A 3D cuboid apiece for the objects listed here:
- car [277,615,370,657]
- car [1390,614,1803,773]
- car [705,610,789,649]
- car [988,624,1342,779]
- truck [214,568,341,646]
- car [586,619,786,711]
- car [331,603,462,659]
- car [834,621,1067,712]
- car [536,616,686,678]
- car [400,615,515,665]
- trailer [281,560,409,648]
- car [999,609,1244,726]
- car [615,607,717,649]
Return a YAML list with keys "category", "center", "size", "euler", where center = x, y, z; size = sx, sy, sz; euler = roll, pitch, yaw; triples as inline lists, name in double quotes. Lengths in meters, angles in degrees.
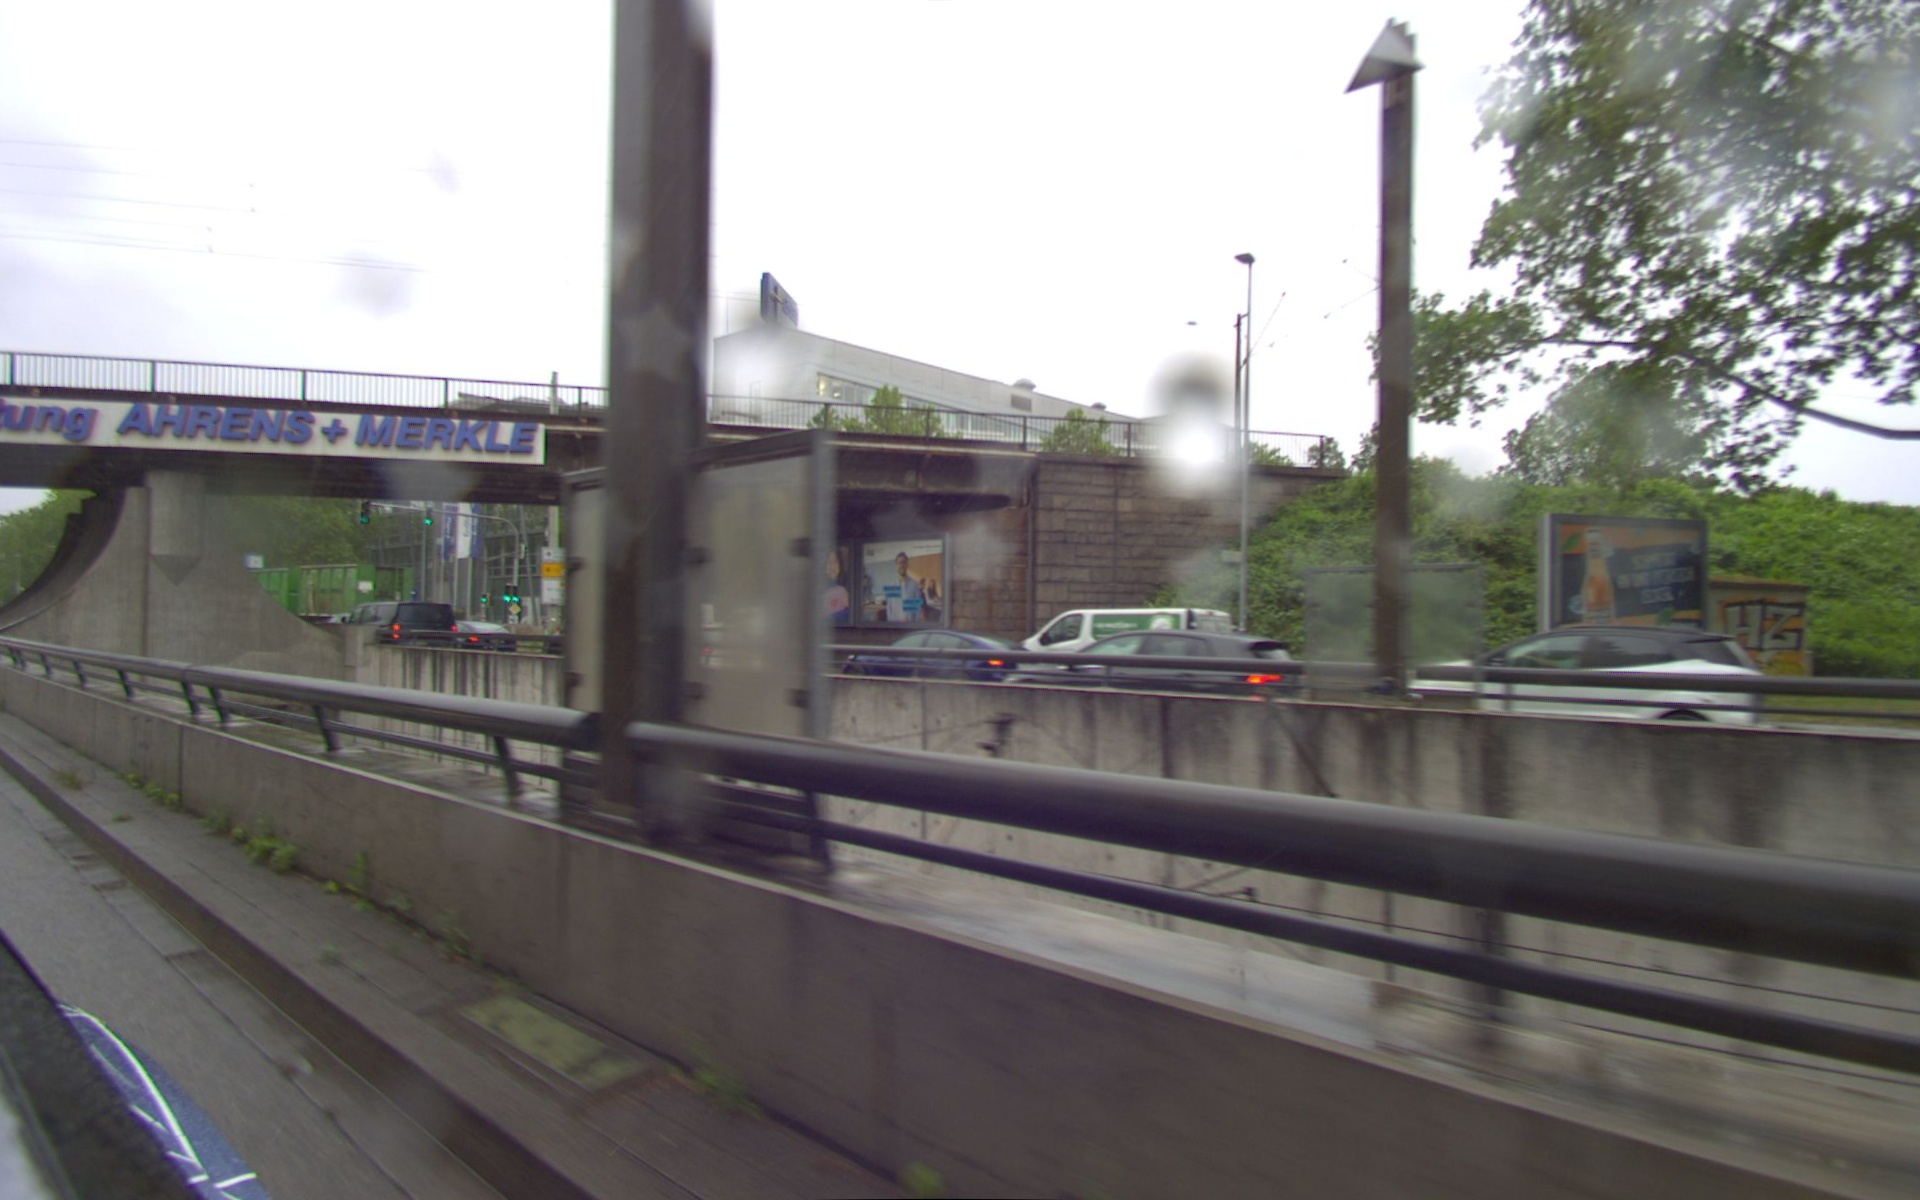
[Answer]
- category: "car"
  center: [-25.908, 1.437, 41.155]
  size: [4.548, 1.586, 1.959]
  euler: [0, -2, 41]
- category: "car"
  center: [7.742, 1.006, 12.541]
  size: [4.088, 1.645, 1.827]
  euler: [-1, -2, 43]
- category: "car"
  center: [-13.833, 1.925, 65.781]
  size: [5.174, 2.452, 1.975]
  euler: [1, -2, -12]
- category: "car"
  center: [2.547, 1.158, 13.114]
  size: [4.088, 1.645, 1.972]
  euler: [-1, -2, 43]
- category: "truck"
  center: [-37.918, 0.466, 56.013]
  size: [10.178, 3.979, 2.654]
  euler: [-1, -3, 38]
- category: "car"
  center: [-5.564, 1.215, 20.314]
  size: [4.087, 1.645, 1.972]
  euler: [-1, -2, 42]
- category: "car"
  center: [-17.513, 0.923, 31.317]
  size: [5.541, 1.586, 1.957]
  euler: [0, -2, 44]
- category: "car"
  center: [-0.275, 1.251, 20.430]
  size: [4.548, 1.586, 1.959]
  euler: [0, -2, 41]
- category: "car"
  center: [-9.900, 1.261, 28.547]
  size: [4.608, 1.586, 1.959]
  euler: [0, -2, 41]
- category: "car"
  center: [-17.381, 1.339, 34.896]
  size: [4.548, 1.586, 1.959]
  euler: [0, -2, 41]
- category: "trailer"
  center: [-30.639, 0.269, 50.266]
  size: [8.510, 4.017, 2.654]
  euler: [-1, -2, 39]
- category: "car"
  center: [3.254, 1.302, 21.048]
  size: [4.845, 2.186, 1.736]
  euler: [-1, -2, 40]
- category: "car"
  center: [-17.881, 1.718, 61.859]
  size: [5.862, 2.452, 1.975]
  euler: [1, -2, -12]
